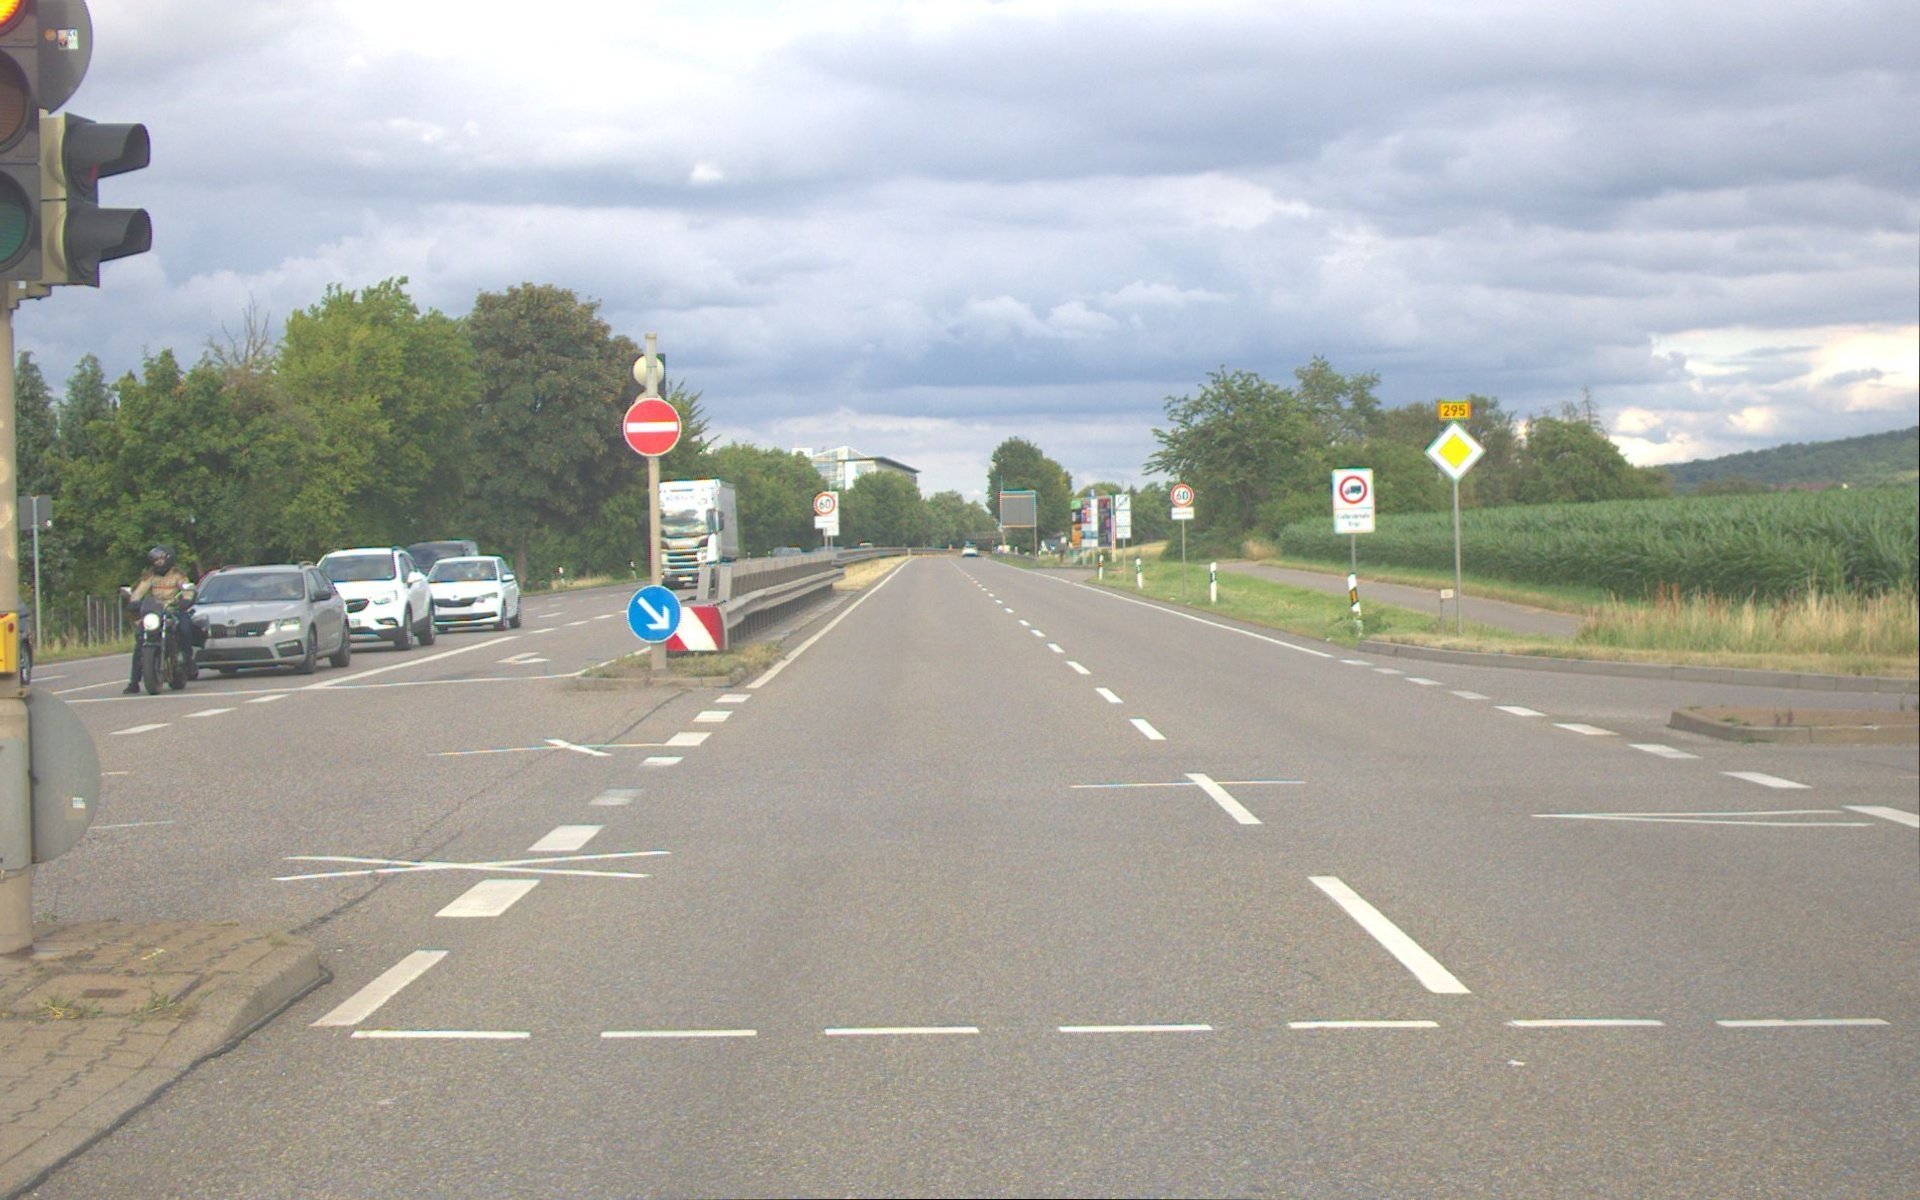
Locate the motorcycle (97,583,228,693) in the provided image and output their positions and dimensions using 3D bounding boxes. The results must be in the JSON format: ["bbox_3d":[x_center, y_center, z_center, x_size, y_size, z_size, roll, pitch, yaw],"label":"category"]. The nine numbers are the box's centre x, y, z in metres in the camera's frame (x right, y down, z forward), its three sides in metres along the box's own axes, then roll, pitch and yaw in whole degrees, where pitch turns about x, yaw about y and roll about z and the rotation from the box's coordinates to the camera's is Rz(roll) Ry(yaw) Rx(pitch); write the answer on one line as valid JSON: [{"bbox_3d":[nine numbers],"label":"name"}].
[{"bbox_3d":[-9.344,0.428,40.377,0.916,1.199,2.479,-2,1,0],"label":"motorcycle"}]

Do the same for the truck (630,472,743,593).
[{"bbox_3d":[-9.975,-2.455,125.940,3.474,4.136,6.050,-3,1,0],"label":"truck"}]

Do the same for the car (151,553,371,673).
[{"bbox_3d":[-9.251,0.129,45.927,1.907,1.423,5.152,-2,1,-1],"label":"car"}]

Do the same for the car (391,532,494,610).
[{"bbox_3d":[-14.140,-0.802,94.227,1.993,2.007,4.947,-2,0,0],"label":"car"}]

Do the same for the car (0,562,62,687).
[{"bbox_3d":[-12.954,0.334,43.469,1.907,1.530,4.939,-2,1,-1],"label":"car"}]

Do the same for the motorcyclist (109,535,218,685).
[{"bbox_3d":[-9.346,0.112,40.372,0.916,1.703,1.276,-2,1,0],"label":"motorcyclist"}]

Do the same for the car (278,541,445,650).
[{"bbox_3d":[-9.538,-0.106,55.077,1.907,1.604,4.405,-2,1,-1],"label":"car"}]

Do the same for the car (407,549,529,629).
[{"bbox_3d":[-9.560,-0.235,67.027,1.789,1.439,4.161,-2,1,-1],"label":"car"}]

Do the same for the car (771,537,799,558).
[{"bbox_3d":[-12.294,-3.685,241.466,1.789,1.381,4.161,-2,1,-1],"label":"car"}]
